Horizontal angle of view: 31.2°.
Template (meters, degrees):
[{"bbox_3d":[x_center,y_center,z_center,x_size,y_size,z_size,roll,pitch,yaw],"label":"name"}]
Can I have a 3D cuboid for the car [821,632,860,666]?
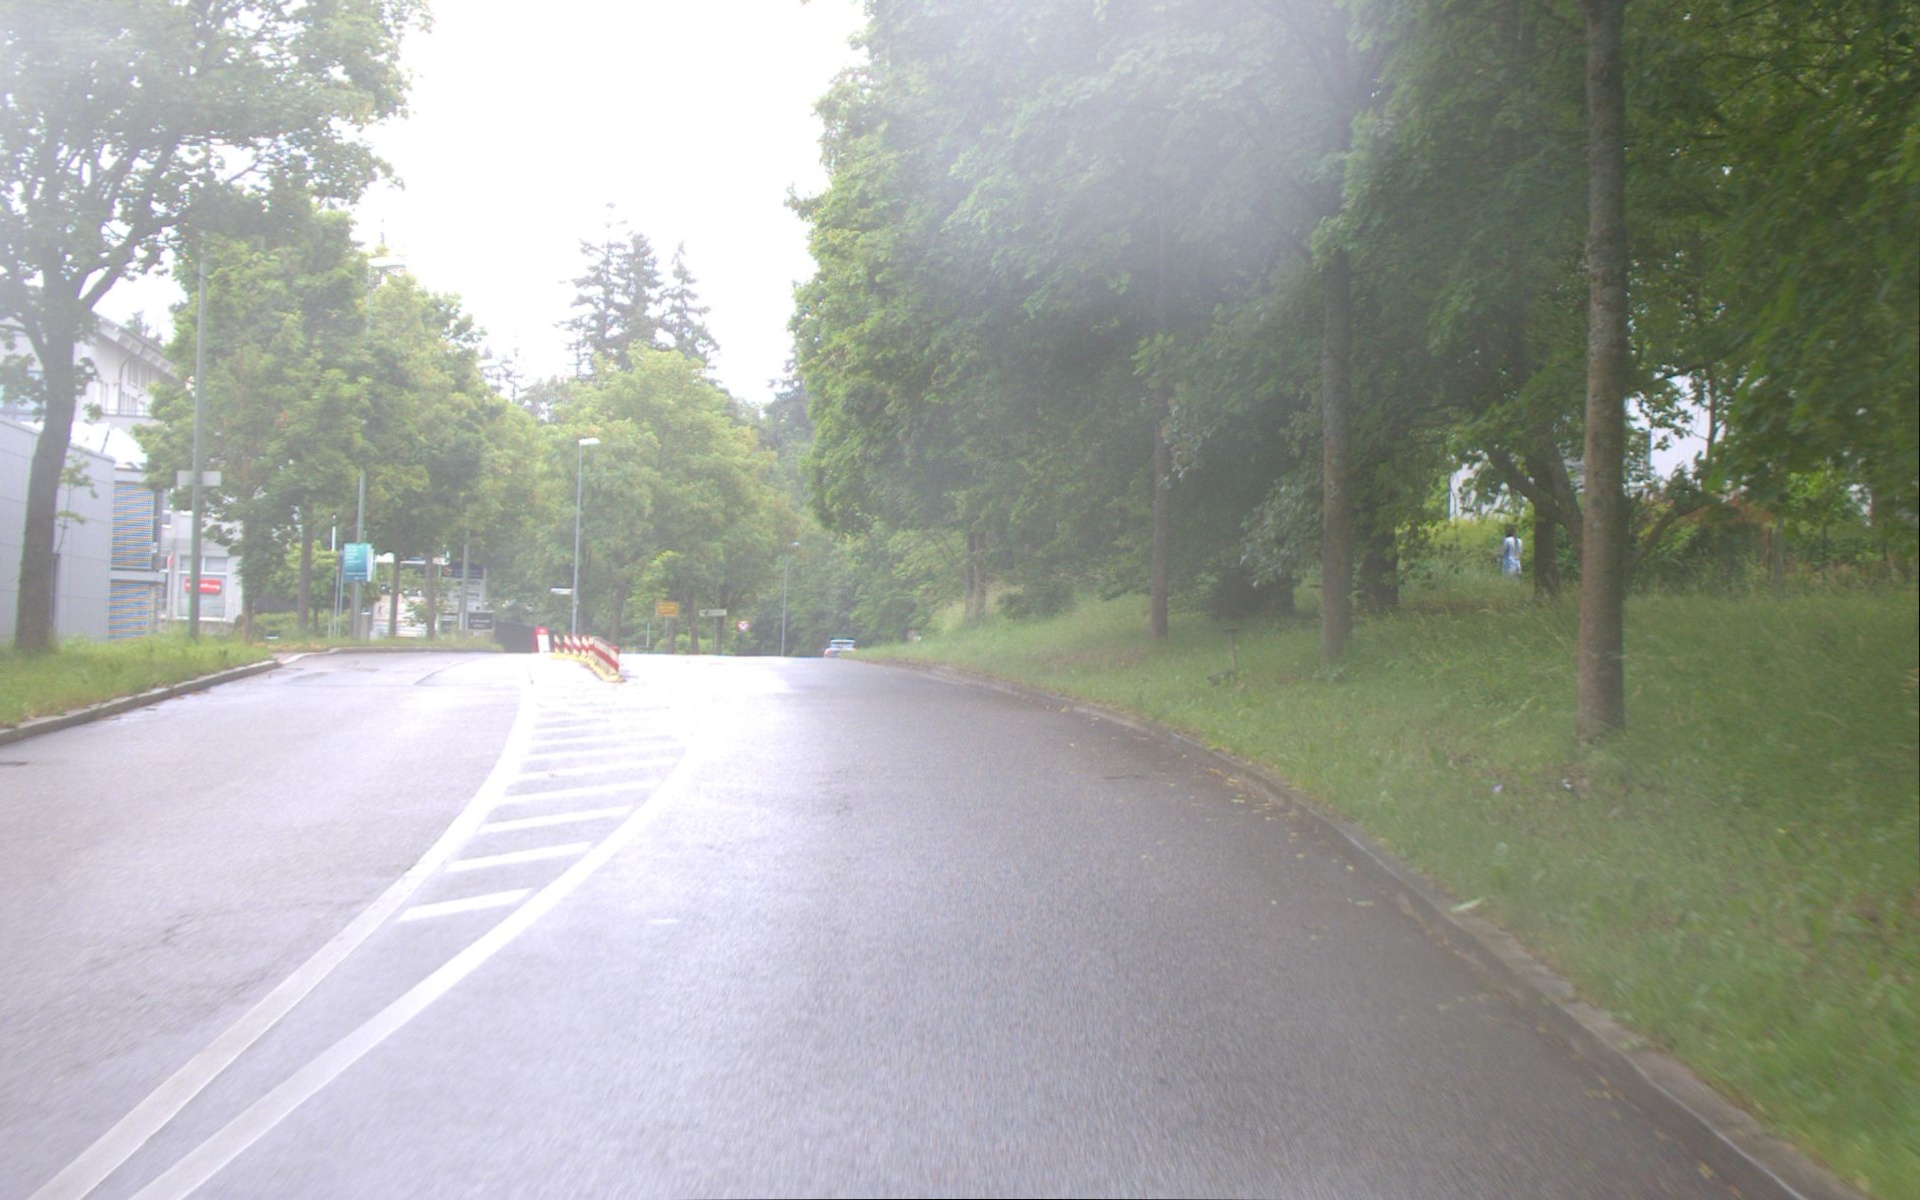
[{"bbox_3d":[-5.420,2.229,156.802,1.736,1.505,4.000,0,-1,-2],"label":"car"}]

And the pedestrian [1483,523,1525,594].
[{"bbox_3d":[9.852,-0.746,62.269,0.654,1.280,0.625,-1,1,-1],"label":"pedestrian"}]
